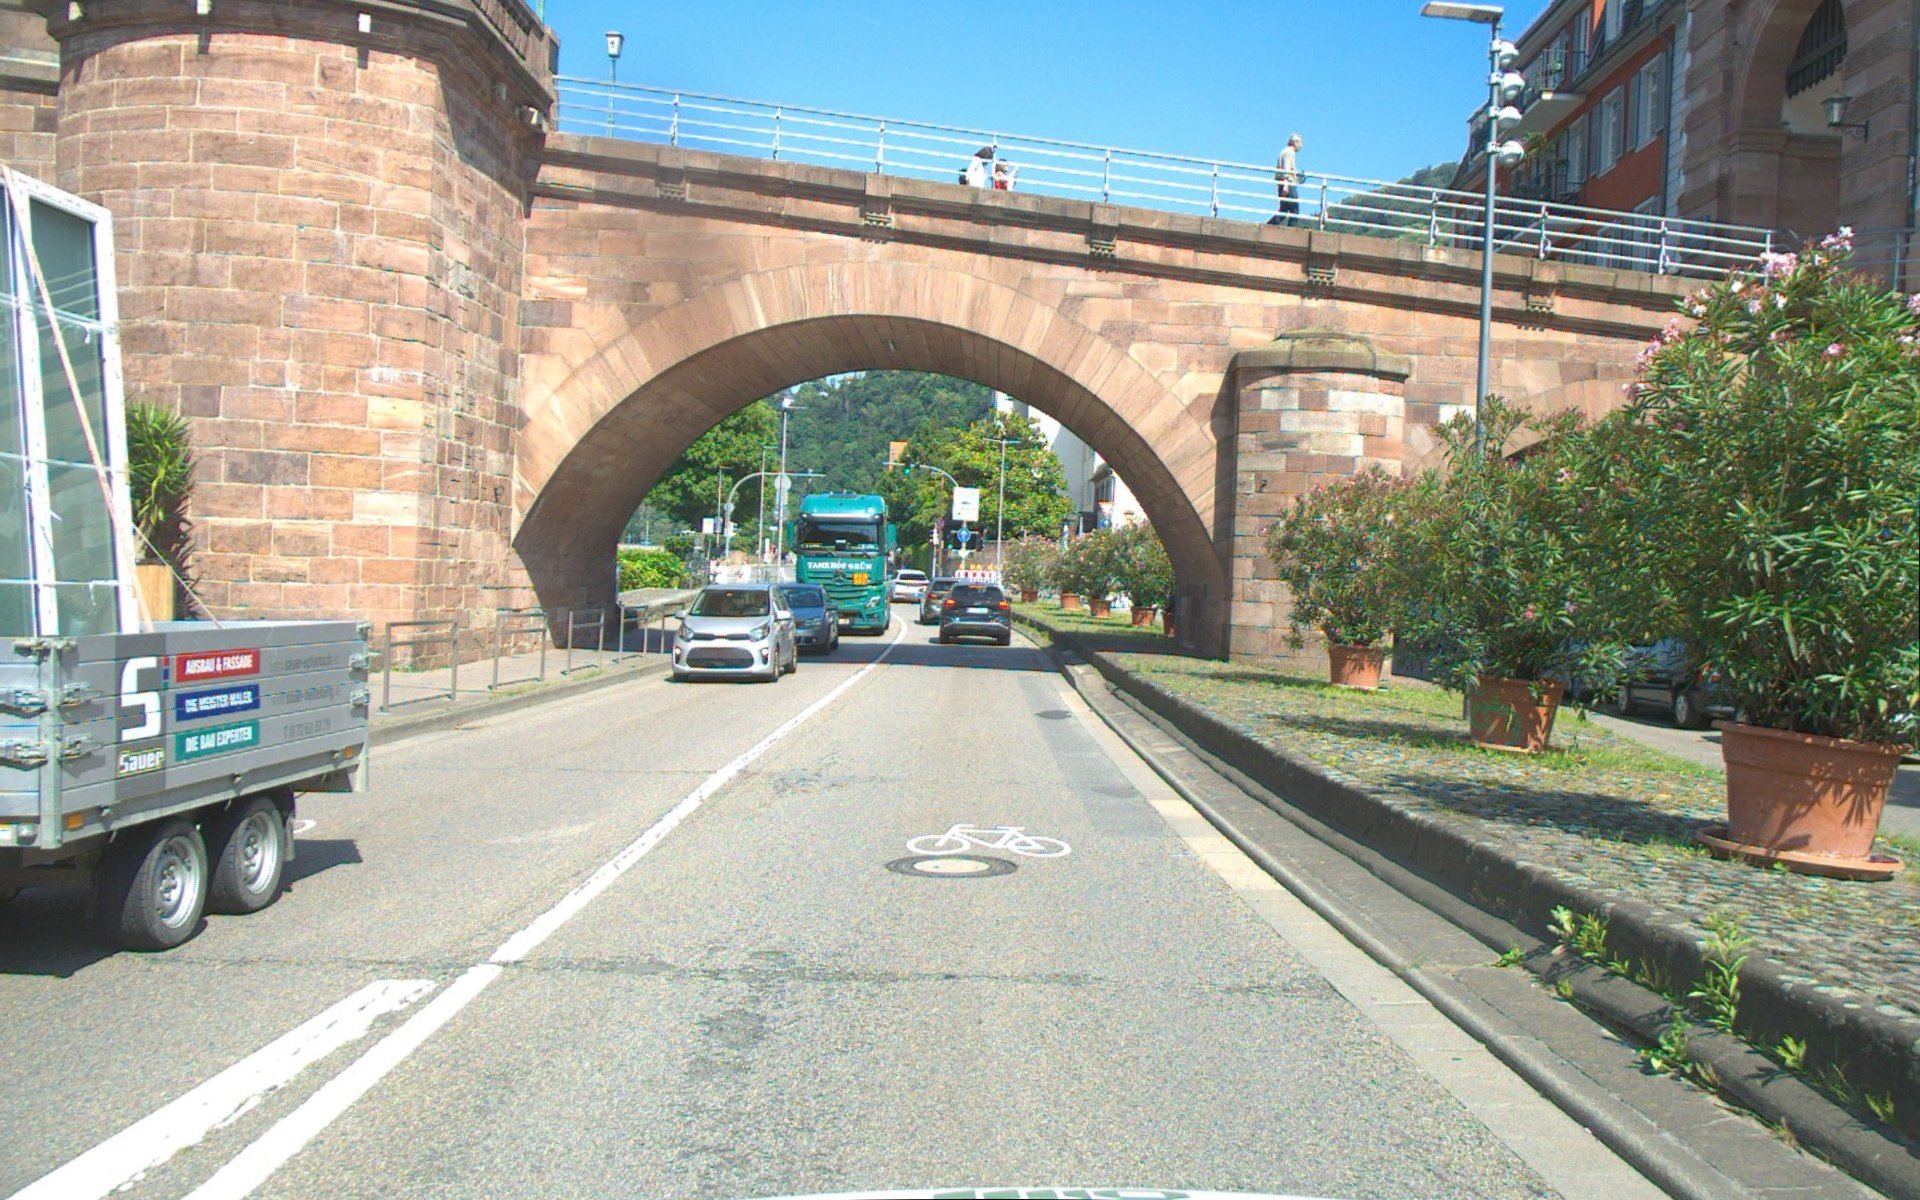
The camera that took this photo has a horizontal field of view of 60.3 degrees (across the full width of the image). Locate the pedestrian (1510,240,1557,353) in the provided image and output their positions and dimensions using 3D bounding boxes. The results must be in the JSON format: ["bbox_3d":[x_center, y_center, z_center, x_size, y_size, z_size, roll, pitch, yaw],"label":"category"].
[{"bbox_3d":[11.022,-5.835,31.819,0.670,2.049,0.586,1,0,0],"label":"pedestrian"}]

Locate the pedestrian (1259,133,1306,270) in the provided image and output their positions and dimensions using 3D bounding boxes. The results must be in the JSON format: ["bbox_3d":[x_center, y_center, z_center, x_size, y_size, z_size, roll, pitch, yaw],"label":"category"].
[{"bbox_3d":[5.252,-6.478,26.958,0.611,2.049,0.695,1,0,1],"label":"pedestrian"}]

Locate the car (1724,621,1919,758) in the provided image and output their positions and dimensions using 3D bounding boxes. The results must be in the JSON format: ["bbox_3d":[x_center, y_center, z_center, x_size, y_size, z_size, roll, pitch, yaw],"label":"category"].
[{"bbox_3d":[11.446,1.077,21.289,1.738,1.528,3.989,1,0,6],"label":"car"}]

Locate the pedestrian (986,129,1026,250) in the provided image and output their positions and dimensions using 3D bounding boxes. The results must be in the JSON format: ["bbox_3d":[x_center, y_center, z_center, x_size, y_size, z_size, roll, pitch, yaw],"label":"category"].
[{"bbox_3d":[0.832,-7.458,30.068,0.670,2.049,0.586,1,0,0],"label":"pedestrian"}]

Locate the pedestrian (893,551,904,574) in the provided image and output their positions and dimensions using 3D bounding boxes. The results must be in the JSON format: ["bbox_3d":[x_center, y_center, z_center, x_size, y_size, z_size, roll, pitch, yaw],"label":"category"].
[{"bbox_3d":[-4.684,-2.858,126.350,0.667,1.773,0.912,3,0,-6],"label":"pedestrian"}]

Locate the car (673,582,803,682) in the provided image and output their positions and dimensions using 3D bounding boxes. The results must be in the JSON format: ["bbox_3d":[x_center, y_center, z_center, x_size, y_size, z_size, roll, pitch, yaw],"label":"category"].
[{"bbox_3d":[-3.444,0.458,26.169,1.503,1.462,3.728,0,0,1],"label":"car"}]

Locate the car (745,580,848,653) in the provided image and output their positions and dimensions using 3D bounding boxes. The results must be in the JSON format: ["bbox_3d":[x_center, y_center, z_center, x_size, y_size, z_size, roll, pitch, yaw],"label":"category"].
[{"bbox_3d":[-3.451,0.330,35.562,1.687,1.462,4.401,0,0,1],"label":"car"}]

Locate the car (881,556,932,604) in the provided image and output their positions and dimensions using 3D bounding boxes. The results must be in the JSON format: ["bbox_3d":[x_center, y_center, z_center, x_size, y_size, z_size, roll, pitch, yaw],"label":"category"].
[{"bbox_3d":[-2.457,-0.880,75.141,1.955,2.049,3.995,1,0,-6],"label":"car"}]

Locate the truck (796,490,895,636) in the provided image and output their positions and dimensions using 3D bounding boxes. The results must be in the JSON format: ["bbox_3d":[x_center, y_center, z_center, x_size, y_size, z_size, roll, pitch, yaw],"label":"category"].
[{"bbox_3d":[-3.111,-1.048,46.415,2.472,3.813,6.245,0,1,-1],"label":"truck"}]

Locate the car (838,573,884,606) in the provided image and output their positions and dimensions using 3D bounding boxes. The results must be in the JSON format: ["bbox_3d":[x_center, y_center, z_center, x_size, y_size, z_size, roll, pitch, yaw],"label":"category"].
[{"bbox_3d":[-5.543,-0.577,92.123,1.958,1.691,3.989,2,0,-11],"label":"car"}]

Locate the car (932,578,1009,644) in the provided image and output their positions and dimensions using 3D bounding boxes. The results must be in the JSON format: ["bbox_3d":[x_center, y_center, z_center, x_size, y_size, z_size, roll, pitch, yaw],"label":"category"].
[{"bbox_3d":[0.292,0.253,41.836,1.818,1.550,4.001,1,0,1],"label":"car"}]

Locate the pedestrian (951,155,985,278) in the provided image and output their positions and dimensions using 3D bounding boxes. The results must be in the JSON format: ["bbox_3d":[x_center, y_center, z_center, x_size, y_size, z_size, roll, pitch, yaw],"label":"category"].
[{"bbox_3d":[0.149,-6.837,29.557,0.569,2.049,0.586,1,0,0],"label":"pedestrian"}]

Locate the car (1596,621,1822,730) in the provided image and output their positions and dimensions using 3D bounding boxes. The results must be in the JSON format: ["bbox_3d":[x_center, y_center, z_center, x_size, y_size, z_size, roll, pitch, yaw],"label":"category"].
[{"bbox_3d":[11.841,1.137,26.507,1.738,1.462,4.494,2,0,3],"label":"car"}]

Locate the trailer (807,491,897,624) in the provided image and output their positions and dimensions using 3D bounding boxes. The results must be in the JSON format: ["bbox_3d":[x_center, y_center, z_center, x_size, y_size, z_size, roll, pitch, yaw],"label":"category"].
[{"bbox_3d":[-3.269,-1.313,52.527,2.473,3.707,11.527,1,1,-2],"label":"trailer"}]

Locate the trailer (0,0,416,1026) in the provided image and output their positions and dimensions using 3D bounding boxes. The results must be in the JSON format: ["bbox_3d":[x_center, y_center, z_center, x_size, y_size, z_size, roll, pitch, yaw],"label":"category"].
[{"bbox_3d":[-3.801,-0.305,7.109,1.705,3.378,3.384,0,0,2],"label":"trailer"}]

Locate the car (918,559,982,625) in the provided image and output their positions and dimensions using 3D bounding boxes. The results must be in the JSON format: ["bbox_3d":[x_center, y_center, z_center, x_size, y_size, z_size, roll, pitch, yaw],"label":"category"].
[{"bbox_3d":[-0.364,-0.251,54.369,1.953,2.049,3.998,1,0,-2],"label":"car"}]
